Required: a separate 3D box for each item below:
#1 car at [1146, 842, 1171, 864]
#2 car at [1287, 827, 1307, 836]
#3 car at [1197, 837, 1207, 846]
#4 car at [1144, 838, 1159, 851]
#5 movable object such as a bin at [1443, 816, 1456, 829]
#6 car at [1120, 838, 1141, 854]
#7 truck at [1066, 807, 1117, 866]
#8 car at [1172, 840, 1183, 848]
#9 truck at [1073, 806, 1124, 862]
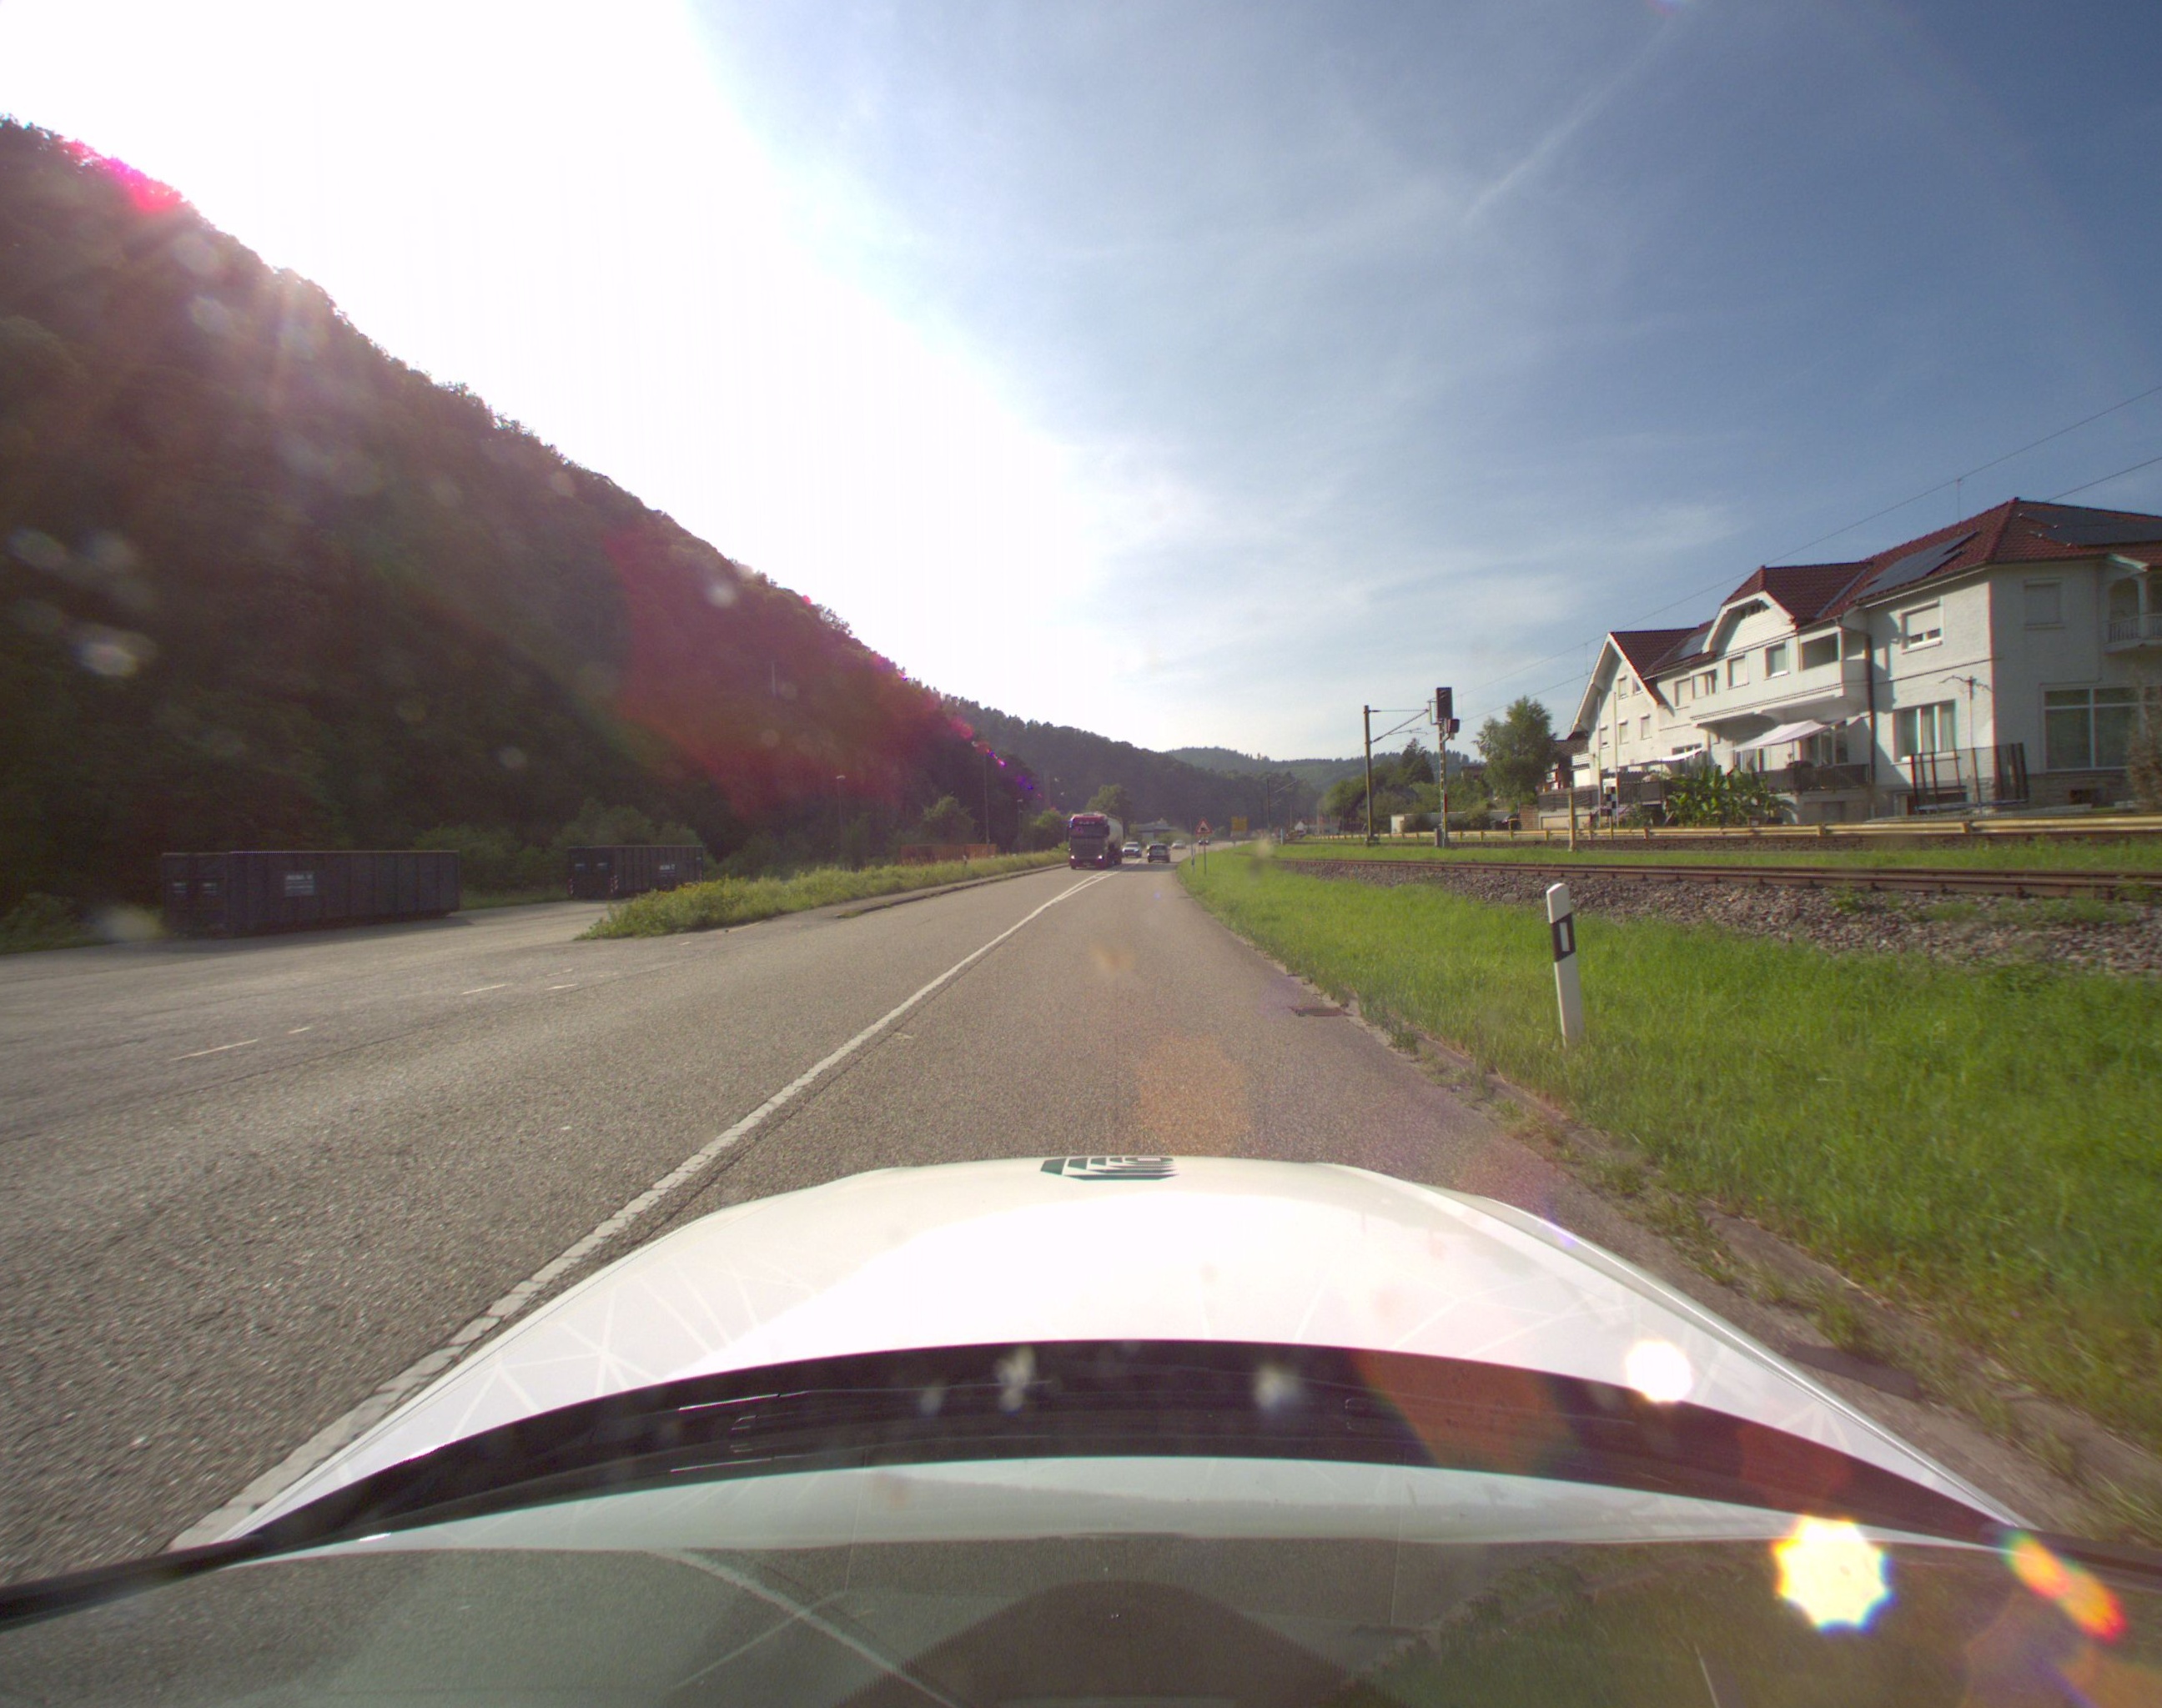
[{"bbox_3d":[6.675,-0.105,70.623,1.984,1.723,3.995,-4,0,4],"label":"car"},{"bbox_3d":[60.516,-6.213,227.840,5.239,2.013,2.009,-4,1,15],"label":"car"},{"bbox_3d":[23.955,-2.514,160.709,1.836,1.584,4.329,0,2,10],"label":"car"},{"bbox_3d":[9.483,-1.304,109.969,1.713,1.624,3.806,-1,1,9],"label":"car"},{"bbox_3d":[31.151,-2.645,68.787,0.802,1.050,0.914,0,1,10],"label":"movable object such as a bin"},{"bbox_3d":[5.427,-0.886,88.573,1.983,1.758,4.478,0,1,6],"label":"car"},{"bbox_3d":[0.858,-1.243,57.580,2.736,3.835,8.213,-1,1,6],"label":"truck"},{"bbox_3d":[15.900,-1.650,134.137,1.768,1.348,4.521,0,1,8],"label":"car"},{"bbox_3d":[1.620,-1.529,64.275,2.736,3.835,14.587,-1,1,6],"label":"truck"}]
